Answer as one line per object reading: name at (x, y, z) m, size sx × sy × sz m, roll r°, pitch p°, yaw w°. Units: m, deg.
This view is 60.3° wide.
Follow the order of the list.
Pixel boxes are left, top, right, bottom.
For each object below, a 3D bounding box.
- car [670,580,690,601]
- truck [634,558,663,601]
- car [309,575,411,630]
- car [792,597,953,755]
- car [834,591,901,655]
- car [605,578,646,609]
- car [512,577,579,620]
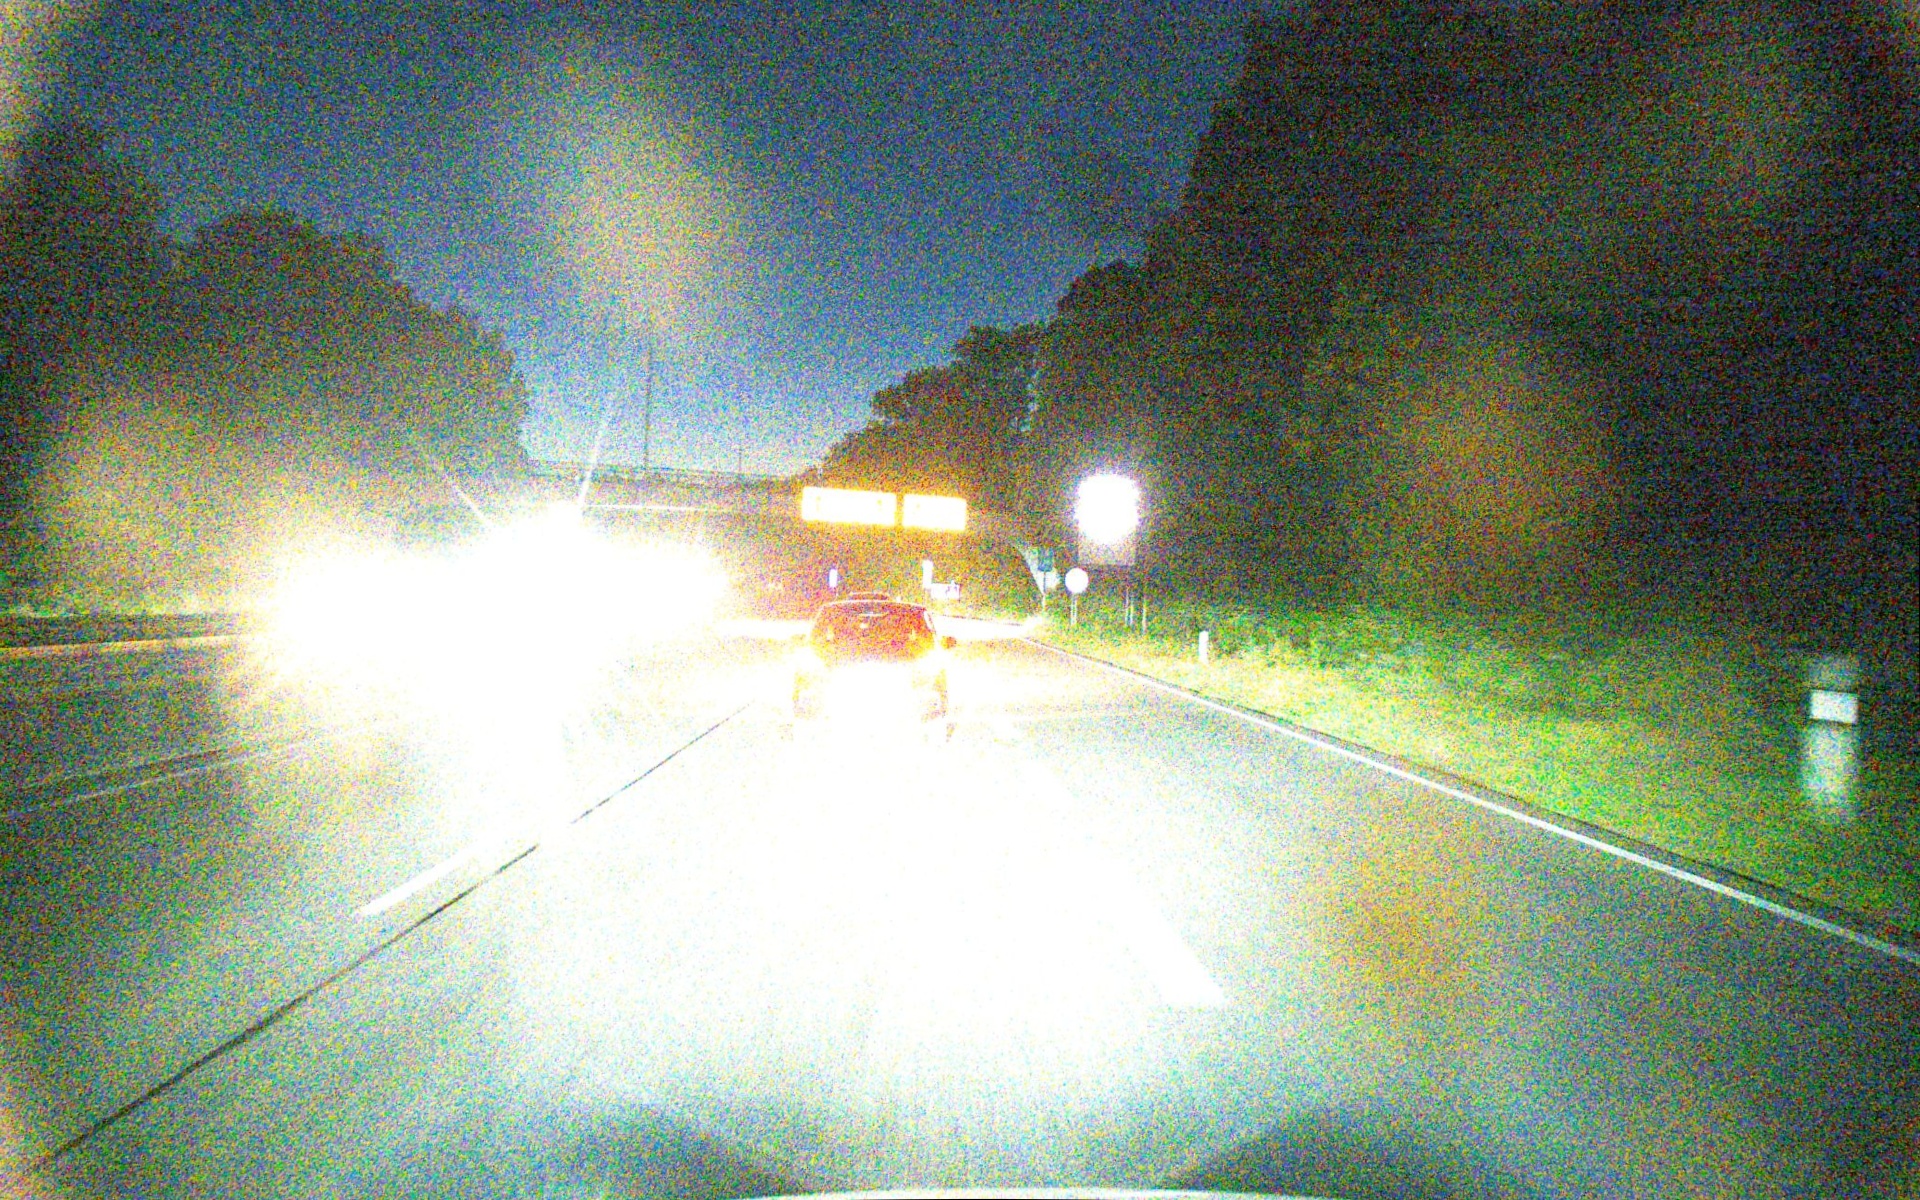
car at (-32.151, -1.105, 190.199) m, size 1.956 × 2.306 × 3.994 m, roll 4°, pitch 0°, yaw -7°
truck at (-34.088, -2.223, 180.934) m, size 2.580 × 4.306 × 8.569 m, roll 4°, pitch 0°, yaw -12°
car at (-18.009, 0.055, 49.794) m, size 1.694 × 1.543 × 4.156 m, roll 2°, pitch 0°, yaw -3°
car at (-0.971, 0.736, 18.088) m, size 1.557 × 1.534 × 3.997 m, roll 0°, pitch 0°, yaw -4°
car at (-2.766, 0.647, 50.113) m, size 1.868 × 1.727 × 3.998 m, roll 3°, pitch 0°, yaw -2°
car at (-23.288, -0.480, 115.207) m, size 2.317 × 2.049 × 5.025 m, roll 2°, pitch 0°, yaw -6°
car at (-18.600, -0.088, 74.416) m, size 1.928 × 1.794 × 5.029 m, roll 2°, pitch 0°, yaw -3°
